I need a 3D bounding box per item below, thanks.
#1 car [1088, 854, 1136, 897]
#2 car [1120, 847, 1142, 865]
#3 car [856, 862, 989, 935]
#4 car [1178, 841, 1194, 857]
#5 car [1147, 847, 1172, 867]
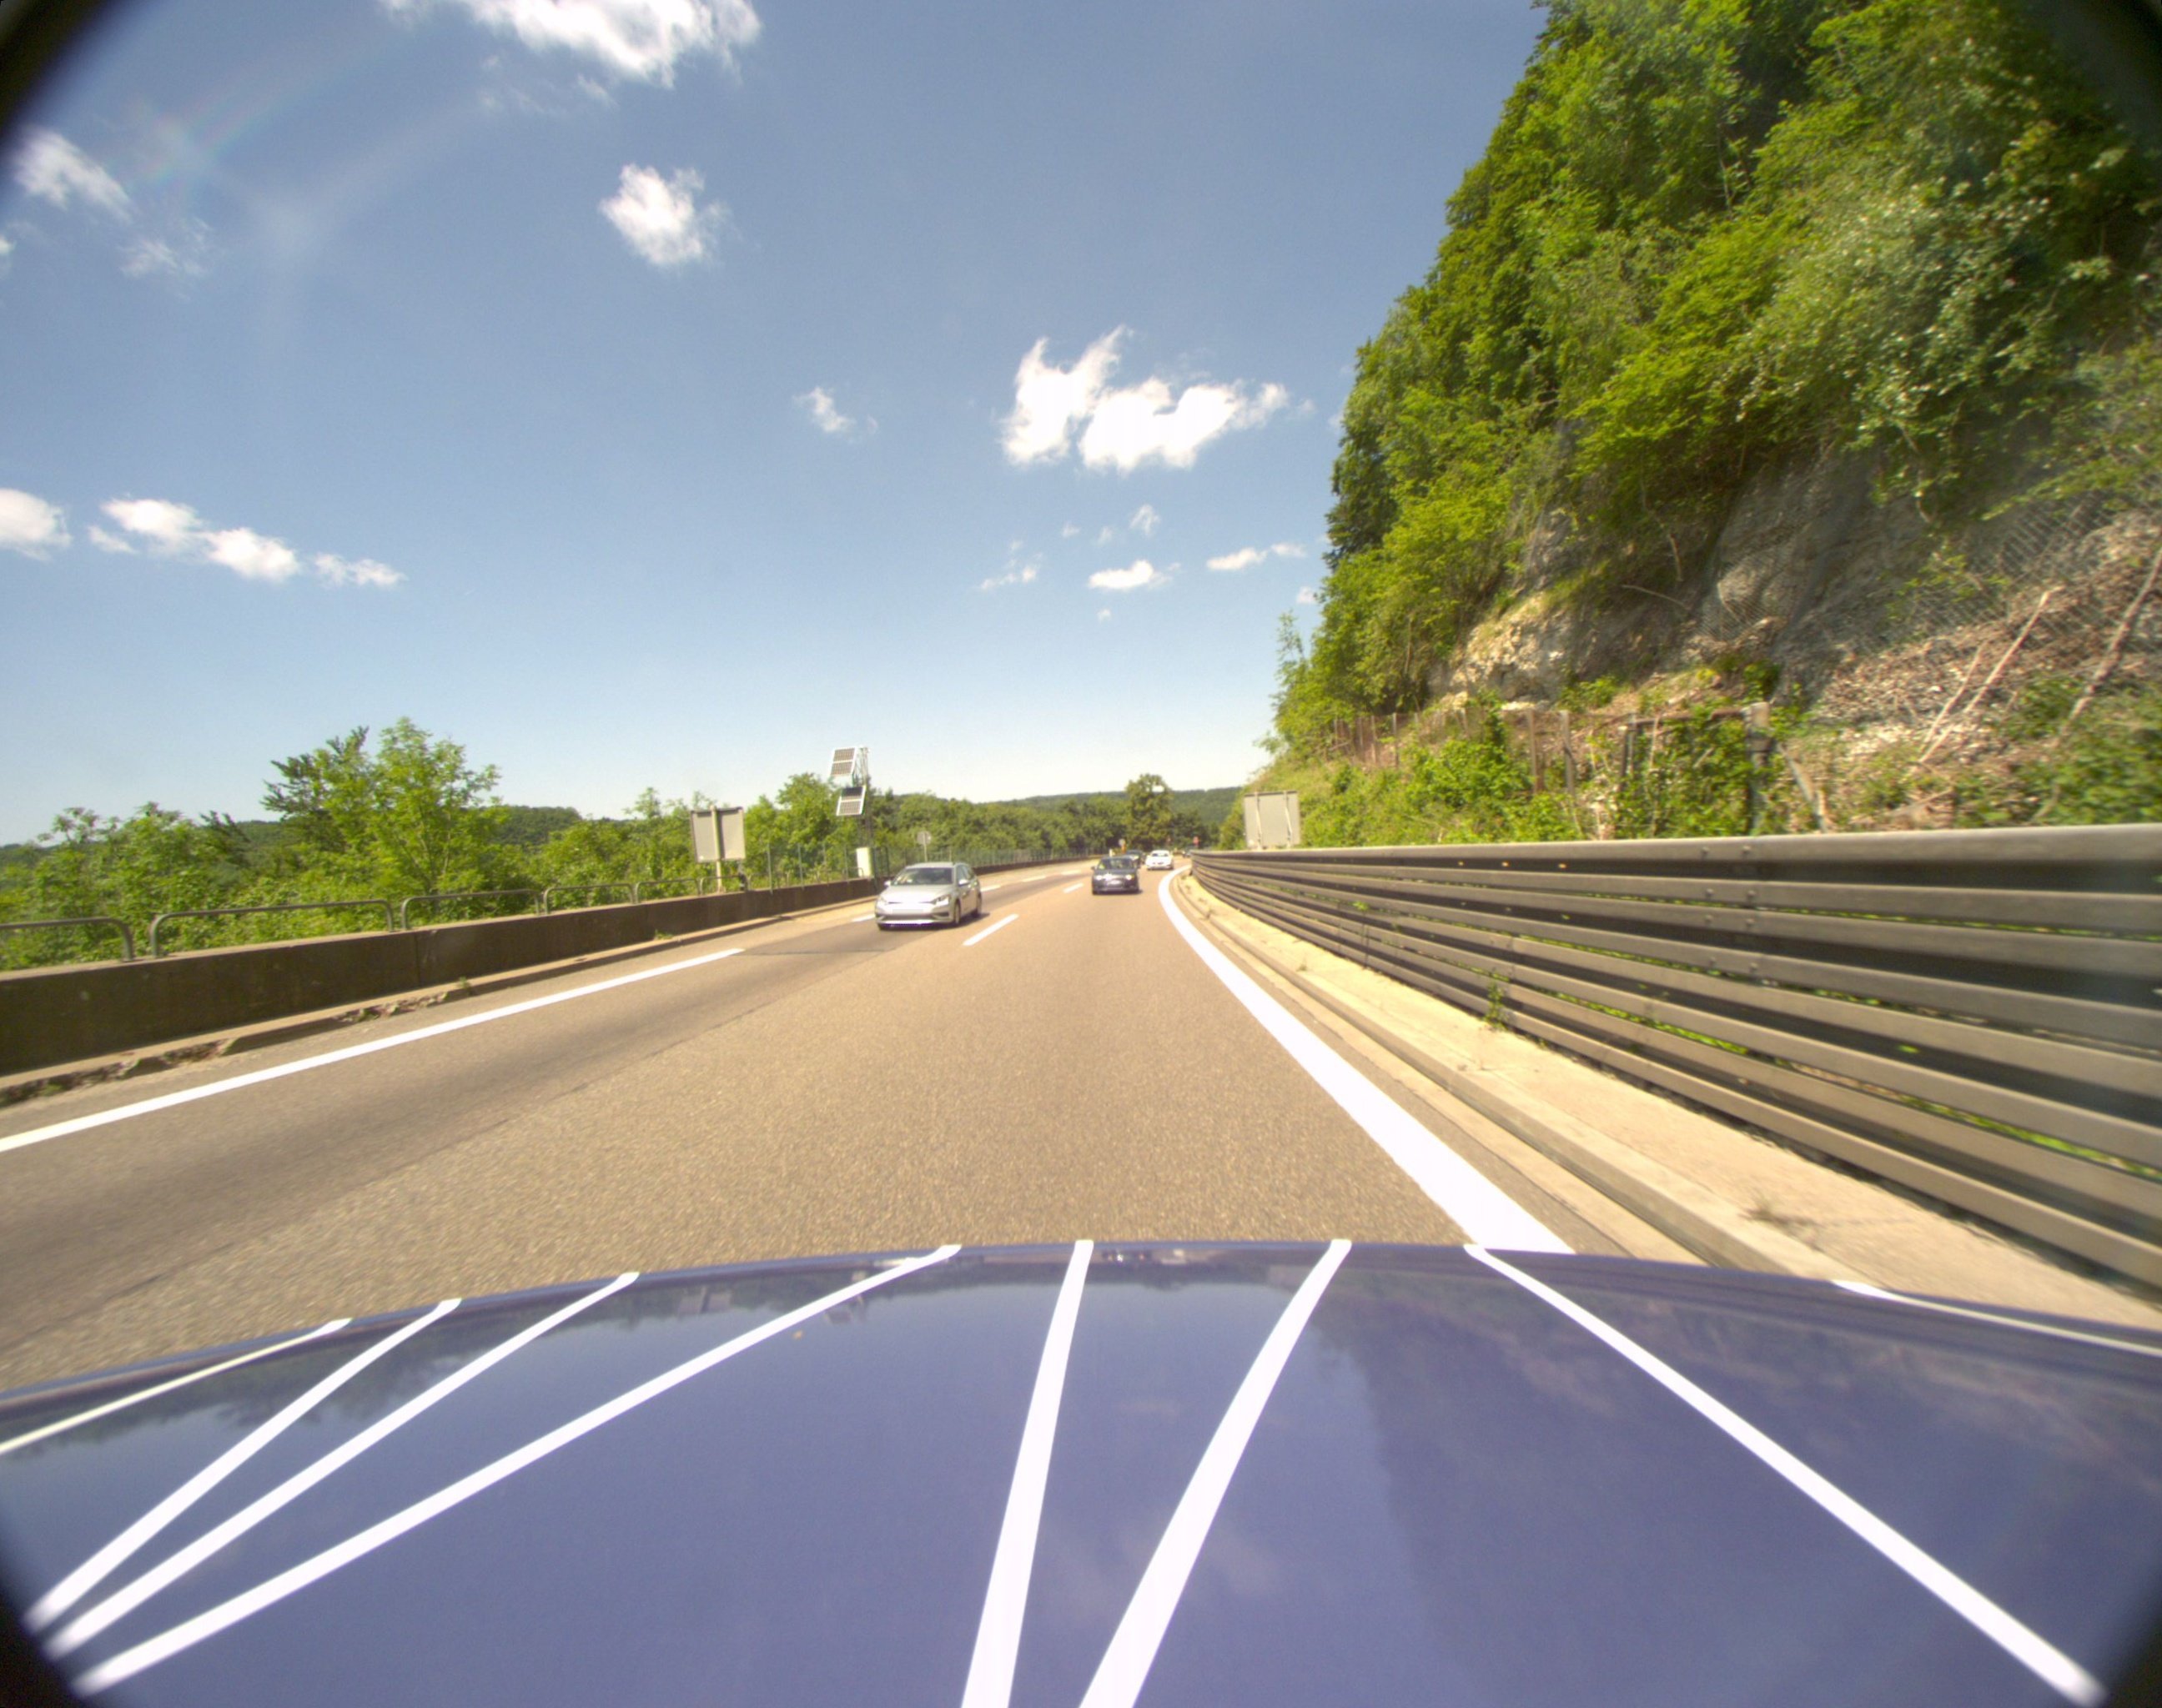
[{"bbox_3d":[1.218,0.772,29.297,1.669,1.415,4.044,-2,1,3],"label":"car"},{"bbox_3d":[4.805,0.164,72.600,1.874,1.565,4.002,-2,0,8],"label":"car"},{"bbox_3d":[-3.586,0.952,18.022,1.972,1.370,4.294,-2,1,3],"label":"car"},{"bbox_3d":[14.651,-0.700,105.927,1.997,2.002,4.003,-3,0,11],"label":"car"},{"bbox_3d":[5.977,0.221,58.220,1.703,1.432,4.044,-2,1,4],"label":"car"}]
